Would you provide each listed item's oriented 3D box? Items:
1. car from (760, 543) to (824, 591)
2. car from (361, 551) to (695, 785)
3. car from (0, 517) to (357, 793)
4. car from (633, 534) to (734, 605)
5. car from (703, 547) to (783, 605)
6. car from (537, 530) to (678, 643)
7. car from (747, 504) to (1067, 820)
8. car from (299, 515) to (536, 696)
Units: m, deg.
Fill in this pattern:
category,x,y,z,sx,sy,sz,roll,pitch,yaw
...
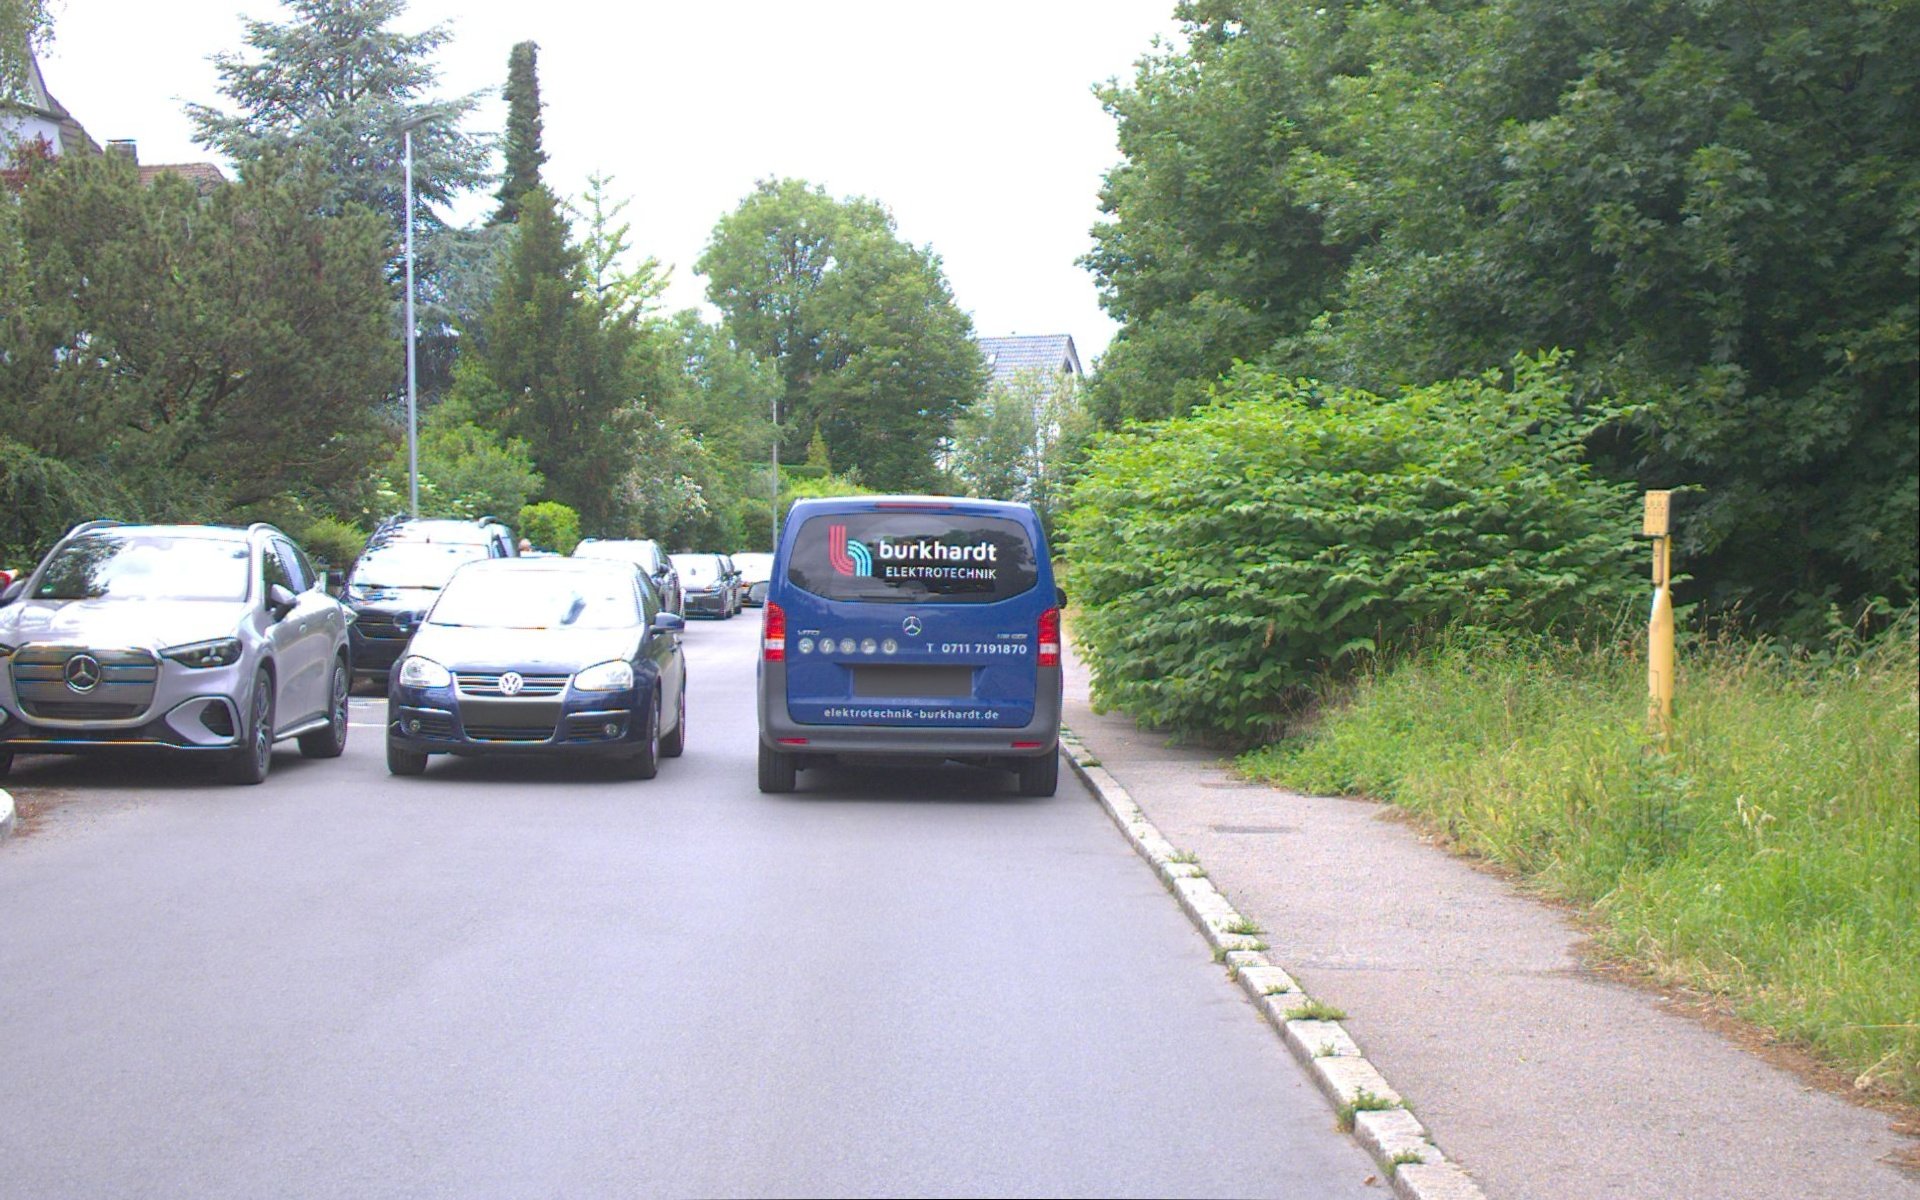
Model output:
category,x,y,z,sx,sy,sz,roll,pitch,yaw
car,-5.456,-1.090,112.070,1.928,1.408,3.963,1,2,-1
car,-2.890,0.403,23.777,1.819,1.438,4.000,1,1,-1
car,-5.268,0.292,22.704,1.836,1.625,4.301,1,1,-1
car,-6.094,-0.698,76.201,1.928,1.408,3.963,1,2,-1
car,-5.878,-0.669,93.436,1.928,1.408,3.963,1,2,-1
car,-5.829,-0.262,57.247,1.892,1.686,4.549,1,2,-1
car,-0.402,0.316,22.419,1.888,1.837,4.001,0,2,-2
car,-5.551,0.007,35.603,1.832,1.745,4.000,1,1,-1
